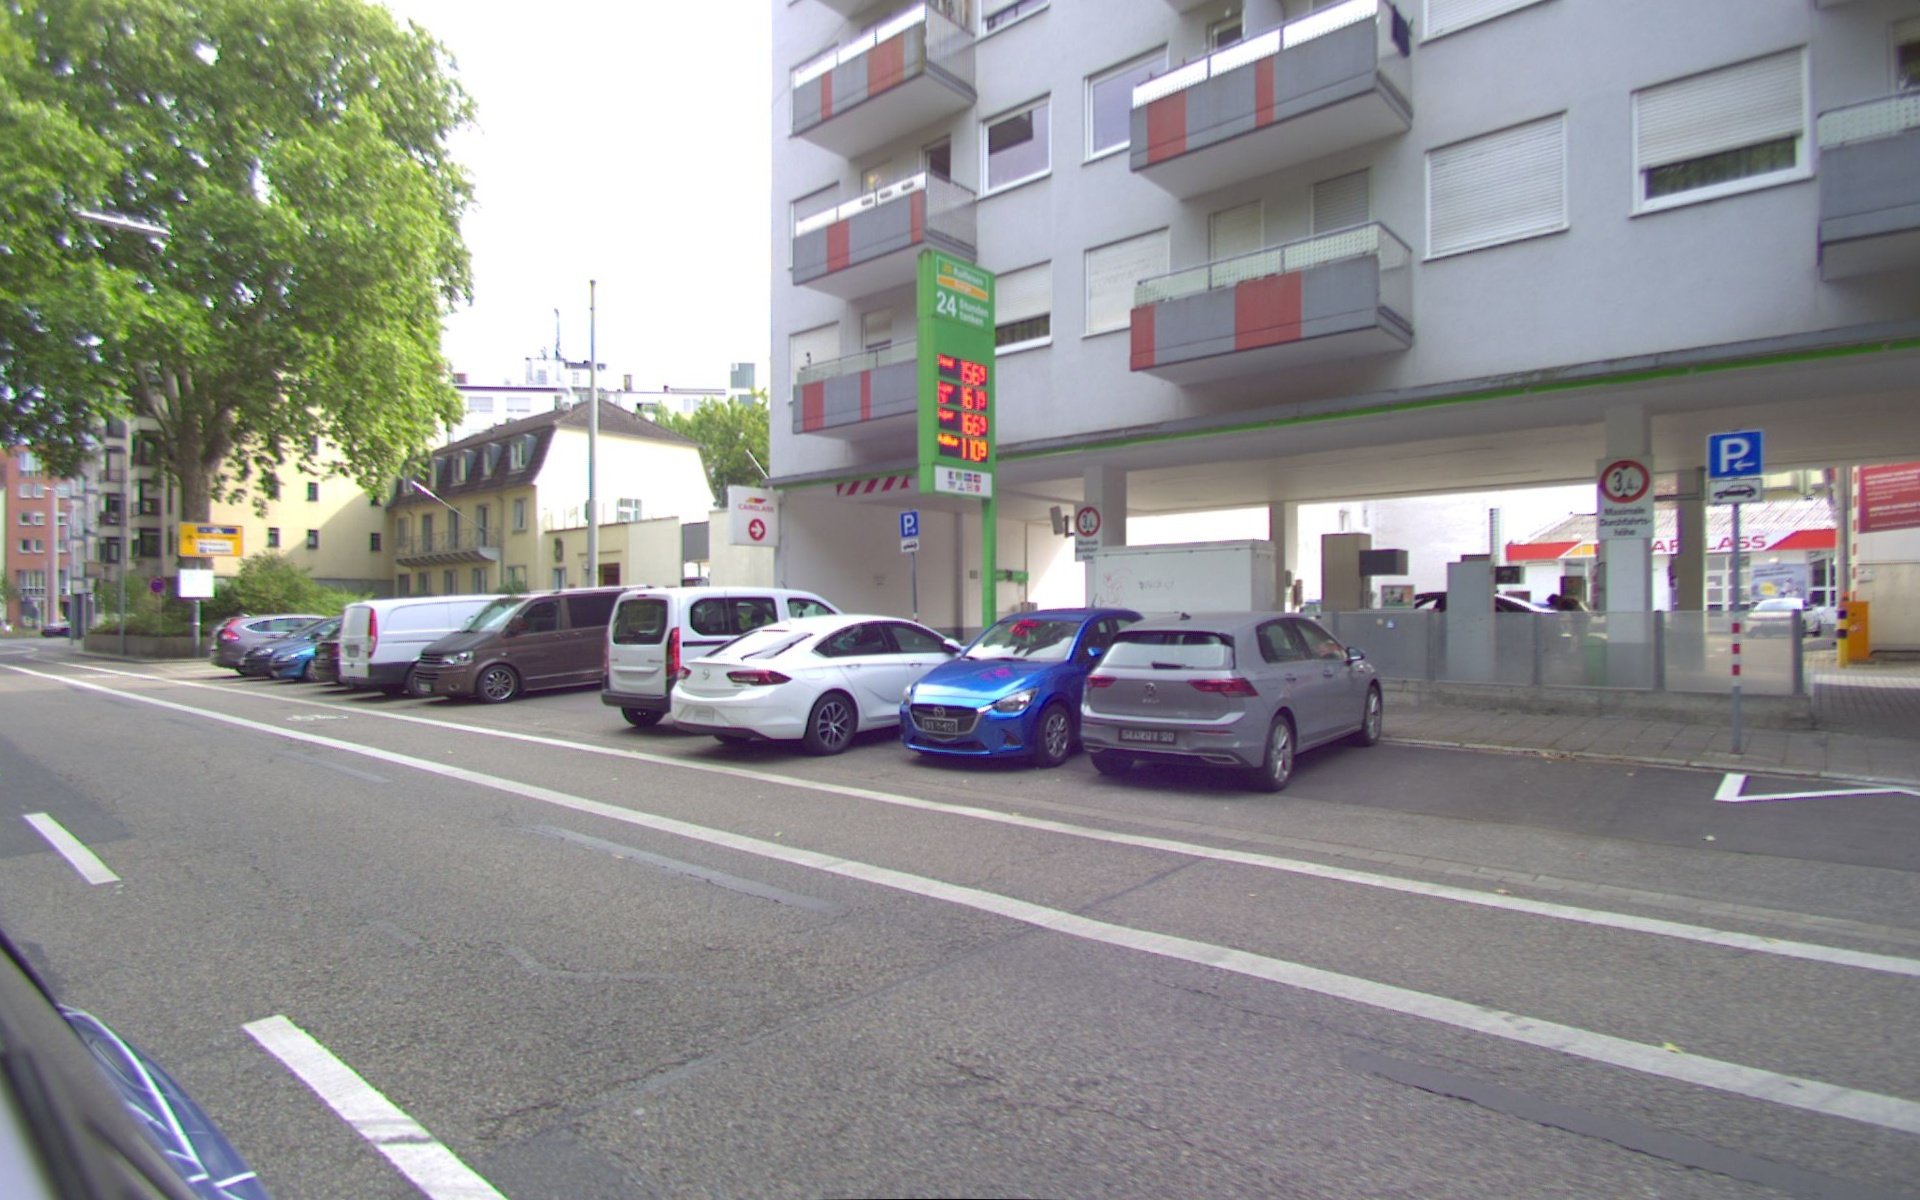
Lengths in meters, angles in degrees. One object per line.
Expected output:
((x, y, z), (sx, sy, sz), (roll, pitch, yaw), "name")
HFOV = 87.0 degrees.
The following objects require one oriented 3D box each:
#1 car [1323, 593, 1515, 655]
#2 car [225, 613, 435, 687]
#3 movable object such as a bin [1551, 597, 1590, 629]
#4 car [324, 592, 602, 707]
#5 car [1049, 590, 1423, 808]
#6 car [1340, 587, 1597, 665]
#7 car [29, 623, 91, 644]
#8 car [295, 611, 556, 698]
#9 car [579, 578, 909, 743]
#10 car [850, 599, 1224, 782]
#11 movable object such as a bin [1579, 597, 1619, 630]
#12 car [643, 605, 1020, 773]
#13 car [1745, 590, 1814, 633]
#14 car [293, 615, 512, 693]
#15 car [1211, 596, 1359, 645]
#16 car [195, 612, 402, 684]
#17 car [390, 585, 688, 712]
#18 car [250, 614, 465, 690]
((12.334, 0.637, 27.355), (4.365, 1.533, 1.820), (-2, -1, 41), "car")
((-16.417, 1.240, 26.548), (1.732, 1.560, 4.316), (-2, 1, 42), "car")
((28.427, 0.613, 47.113), (1.229, 1.454, 1.167), (0, -1, -38), "movable object such as a bin")
((-9.835, 0.886, 20.324), (1.949, 1.873, 4.567), (-2, 1, 42), "car")
((2.837, 0.748, 9.762), (1.836, 1.525, 4.108), (-2, 1, 41), "car")
((9.509, 0.469, 19.067), (3.997, 1.308, 1.888), (-1, -1, 41), "car")
((-76.815, 2.826, 86.446), (1.940, 1.683, 4.562), (-1, 0, -12), "car")
((-11.525, 1.099, 22.089), (1.873, 1.480, 4.656), (-2, 1, 42), "car")
((-2.871, 0.704, 14.176), (1.923, 1.861, 4.167), (-2, 1, 41), "car")
((1.031, 0.817, 11.151), (1.909, 1.462, 4.256), (-2, 1, 41), "car")
((29.134, 0.605, 46.132), (1.229, 1.454, 1.167), (0, -1, -38), "movable object such as a bin")
((-1.347, 0.886, 11.995), (1.873, 1.462, 4.227), (-2, 1, 41), "car")
((30.224, 0.425, 37.426), (1.729, 1.479, 3.884), (-1, -1, 36), "car")
((-12.997, 1.193, 23.800), (1.719, 1.462, 4.148), (-2, 1, 42), "car")
((10.909, 0.682, 34.121), (4.365, 1.533, 1.820), (-2, -1, 41), "car")
((-18.204, 1.267, 28.019), (1.753, 1.618, 4.471), (-2, 1, 42), "car")
((-7.733, 0.788, 18.989), (1.993, 1.948, 4.717), (-2, 1, 42), "car")
((-14.848, 1.217, 25.112), (1.719, 1.522, 4.220), (-2, 1, 42), "car")
